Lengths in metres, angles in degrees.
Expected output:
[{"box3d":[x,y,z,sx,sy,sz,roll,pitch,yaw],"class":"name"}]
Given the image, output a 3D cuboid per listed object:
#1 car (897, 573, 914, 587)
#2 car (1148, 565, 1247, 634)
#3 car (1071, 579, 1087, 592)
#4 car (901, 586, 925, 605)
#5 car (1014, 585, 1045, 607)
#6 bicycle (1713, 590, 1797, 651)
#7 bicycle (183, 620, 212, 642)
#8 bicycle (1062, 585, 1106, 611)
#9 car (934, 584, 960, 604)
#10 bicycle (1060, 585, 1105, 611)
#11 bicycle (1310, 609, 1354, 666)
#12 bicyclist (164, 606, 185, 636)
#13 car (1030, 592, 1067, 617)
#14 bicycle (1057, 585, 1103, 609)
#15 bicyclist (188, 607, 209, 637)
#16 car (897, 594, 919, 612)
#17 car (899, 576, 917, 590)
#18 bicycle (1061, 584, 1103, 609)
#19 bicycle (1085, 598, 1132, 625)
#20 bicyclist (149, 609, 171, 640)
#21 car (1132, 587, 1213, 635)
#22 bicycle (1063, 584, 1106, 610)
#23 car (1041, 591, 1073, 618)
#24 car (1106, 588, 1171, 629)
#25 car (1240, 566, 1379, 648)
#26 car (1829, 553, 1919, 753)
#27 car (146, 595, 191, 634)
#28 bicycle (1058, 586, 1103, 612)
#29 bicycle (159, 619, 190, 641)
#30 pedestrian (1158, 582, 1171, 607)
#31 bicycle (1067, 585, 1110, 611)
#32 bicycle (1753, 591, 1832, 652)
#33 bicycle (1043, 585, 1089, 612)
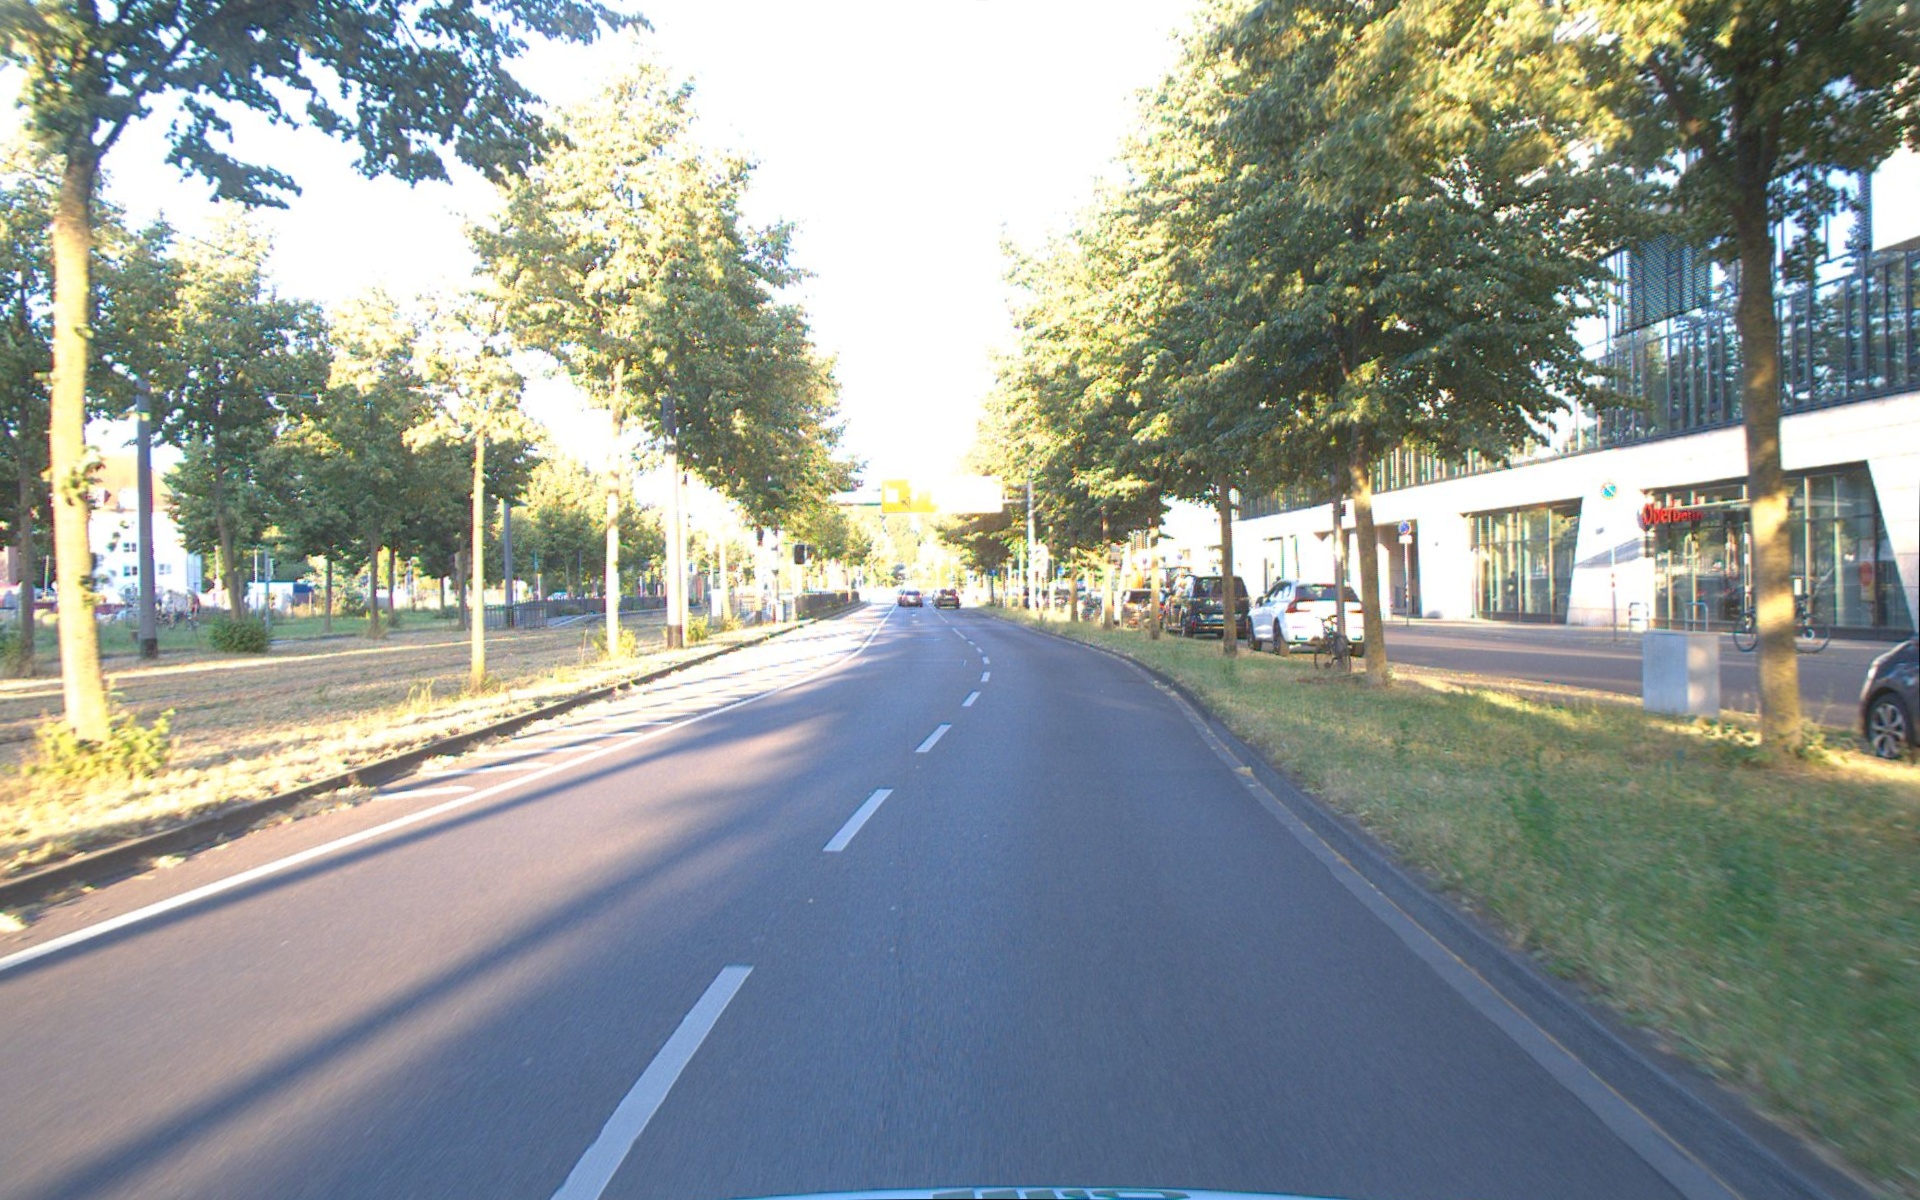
[{"box3d":[-6.488,-2.378,196.744,1.873,1.512,3.998,-1,0,-3],"class":"car"},{"box3d":[6.980,-0.023,49.013,1.954,1.884,4.662,-1,0,-4],"class":"car"},{"box3d":[16.624,-2.067,231.196,1.952,1.758,4.001,-1,0,2],"class":"car"},{"box3d":[-3.960,-0.364,138.897,1.873,1.512,3.998,-1,0,-3],"class":"car"},{"box3d":[4.866,-0.284,116.782,1.722,1.491,4.155,-1,0,-4],"class":"car"},{"box3d":[14.466,0.358,30.152,0.582,1.057,1.892,-1,0,-1],"class":"bicycle"},{"box3d":[-37.773,1.509,81.943,0.607,1.029,2.081,-1,0,-4],"class":"bicycle"},{"box3d":[5.614,-0.094,74.677,1.906,1.072,0.408,2,0,-10],"class":"bicycle"},{"box3d":[-1.029,-0.472,127.875,1.873,1.512,3.998,-1,0,-3],"class":"car"},{"box3d":[5.473,-0.099,74.046,1.906,1.072,0.544,2,0,-10],"class":"bicycle"},{"box3d":[5.836,0.580,26.019,0.309,0.838,1.552,-1,0,-1],"class":"bicycle"},{"box3d":[-38.696,1.024,81.491,0.607,1.482,0.937,-1,0,-4],"class":"bicyclist"},{"box3d":[5.420,0.254,101.774,1.742,1.498,4.285,-1,0,-4],"class":"car"},{"box3d":[5.716,-0.138,78.807,2.102,1.072,0.570,2,0,-9],"class":"bicycle"},{"box3d":[-37.796,1.092,82.087,0.607,1.482,0.937,-1,0,-4],"class":"bicyclist"},{"box3d":[-4.570,0.261,145.375,1.873,1.512,3.998,-1,0,-3],"class":"car"},{"box3d":[-5.674,-1.839,180.936,1.873,1.512,3.998,-1,0,-3],"class":"car"},{"box3d":[5.664,-0.154,76.841,1.906,1.072,0.413,2,0,-10],"class":"bicycle"},{"box3d":[6.360,0.500,70.970,1.903,1.072,0.545,2,0,-3],"class":"bicycle"},{"box3d":[-38.398,1.185,79.397,0.607,1.446,0.937,-1,0,-4],"class":"bicyclist"},{"box3d":[7.030,0.347,55.141,1.774,1.497,4.662,-1,0,-4],"class":"car"},{"box3d":[5.736,-0.140,76.125,1.906,1.072,0.413,2,0,-10],"class":"bicycle"},{"box3d":[5.552,0.250,94.893,1.543,1.498,3.880,-1,0,-1],"class":"car"},{"box3d":[6.633,0.309,61.854,1.831,1.436,4.645,-1,0,-1],"class":"car"},{"box3d":[7.675,0.134,36.802,1.953,1.671,4.877,-1,0,-1],"class":"car"},{"box3d":[8.268,0.428,12.129,1.675,1.542,3.757,1,0,-3],"class":"car"},{"box3d":[-48.759,0.888,101.967,2.385,2.263,5.870,-1,0,-25],"class":"car"},{"box3d":[5.343,-0.054,73.400,1.908,1.072,0.543,2,0,-13],"class":"bicycle"},{"box3d":[-38.688,1.494,81.493,0.607,1.029,2.081,-1,0,-4],"class":"bicycle"},{"box3d":[14.505,-0.419,117.458,0.625,1.748,0.695,-1,0,-22],"class":"pedestrian"},{"box3d":[5.844,-0.099,75.167,1.906,1.072,0.408,2,0,-10],"class":"bicycle"},{"box3d":[15.029,0.364,29.899,0.461,1.057,1.806,-1,0,-1],"class":"bicycle"},{"box3d":[4.600,-0.052,71.927,1.911,1.072,0.542,2,0,-17],"class":"bicycle"}]
